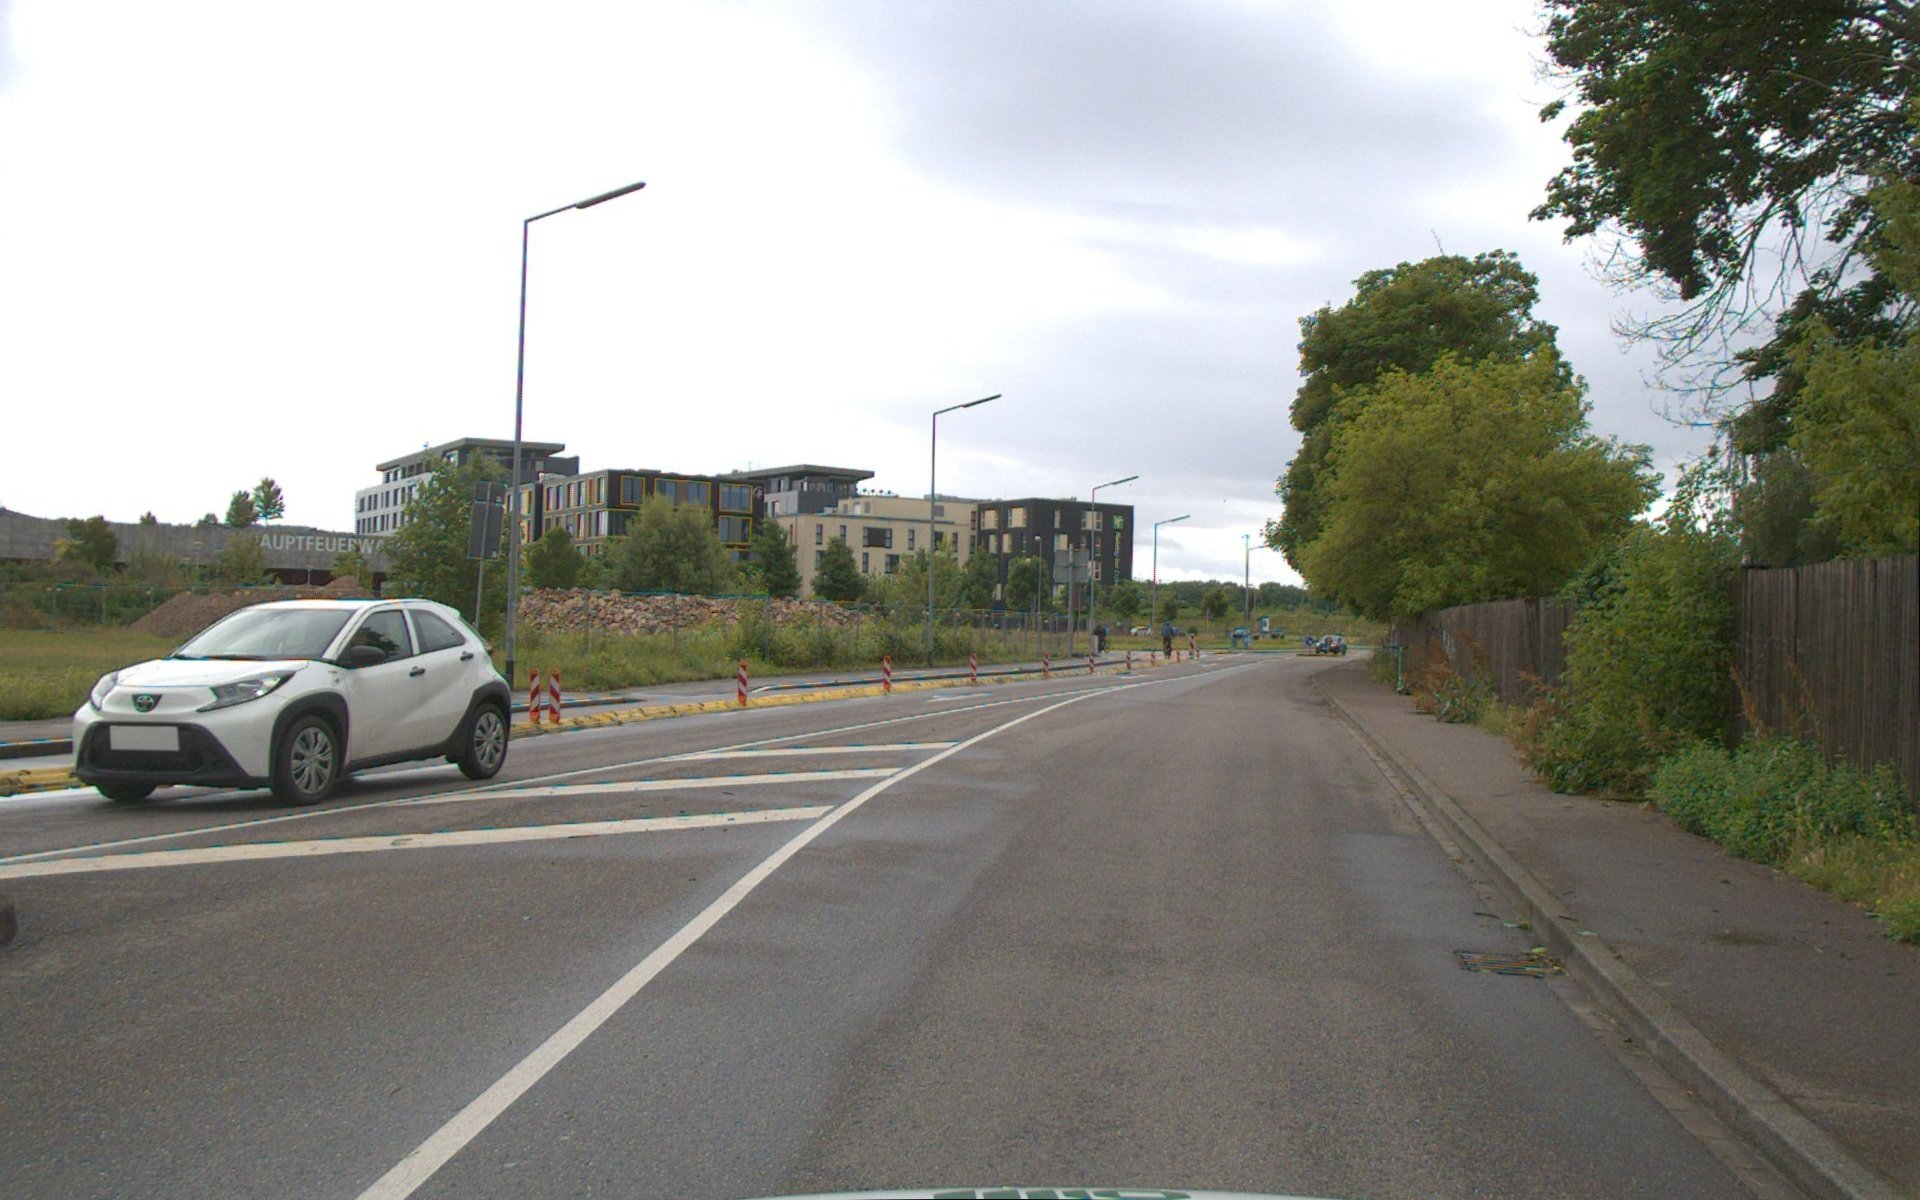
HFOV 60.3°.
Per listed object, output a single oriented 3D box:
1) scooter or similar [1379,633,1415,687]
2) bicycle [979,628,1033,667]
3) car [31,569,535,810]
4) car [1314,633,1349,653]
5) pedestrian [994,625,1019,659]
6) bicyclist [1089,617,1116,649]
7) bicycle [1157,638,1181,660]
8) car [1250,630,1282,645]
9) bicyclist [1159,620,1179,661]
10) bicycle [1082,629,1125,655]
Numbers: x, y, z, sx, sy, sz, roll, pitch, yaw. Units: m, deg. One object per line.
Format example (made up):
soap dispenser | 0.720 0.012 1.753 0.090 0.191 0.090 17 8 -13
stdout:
scooter or similar | 11.466 1.549 43.425 0.676 1.335 2.355 1 0 9
bicycle | 2.567 2.640 92.061 3.069 2.049 0.672 1 -1 31
car | -5.131 0.666 13.160 1.713 1.615 3.904 -1 -2 15
car | 31.596 3.604 140.619 1.844 1.594 4.353 1 0 27
pedestrian | 2.567 2.322 92.059 1.151 1.879 0.733 1 -1 31
bicyclist | 9.002 2.082 104.489 1.378 1.932 1.070 1 -1 -22
bicycle | 10.633 2.490 84.086 0.865 1.071 2.470 1 0 15
car | 39.875 4.891 215.727 1.974 1.855 3.957 1 0 -31
bicyclist | 10.639 2.066 84.091 0.843 2.049 1.178 1 -1 15
bicycle | 9.050 2.665 104.502 2.456 1.612 1.079 1 -1 -22
